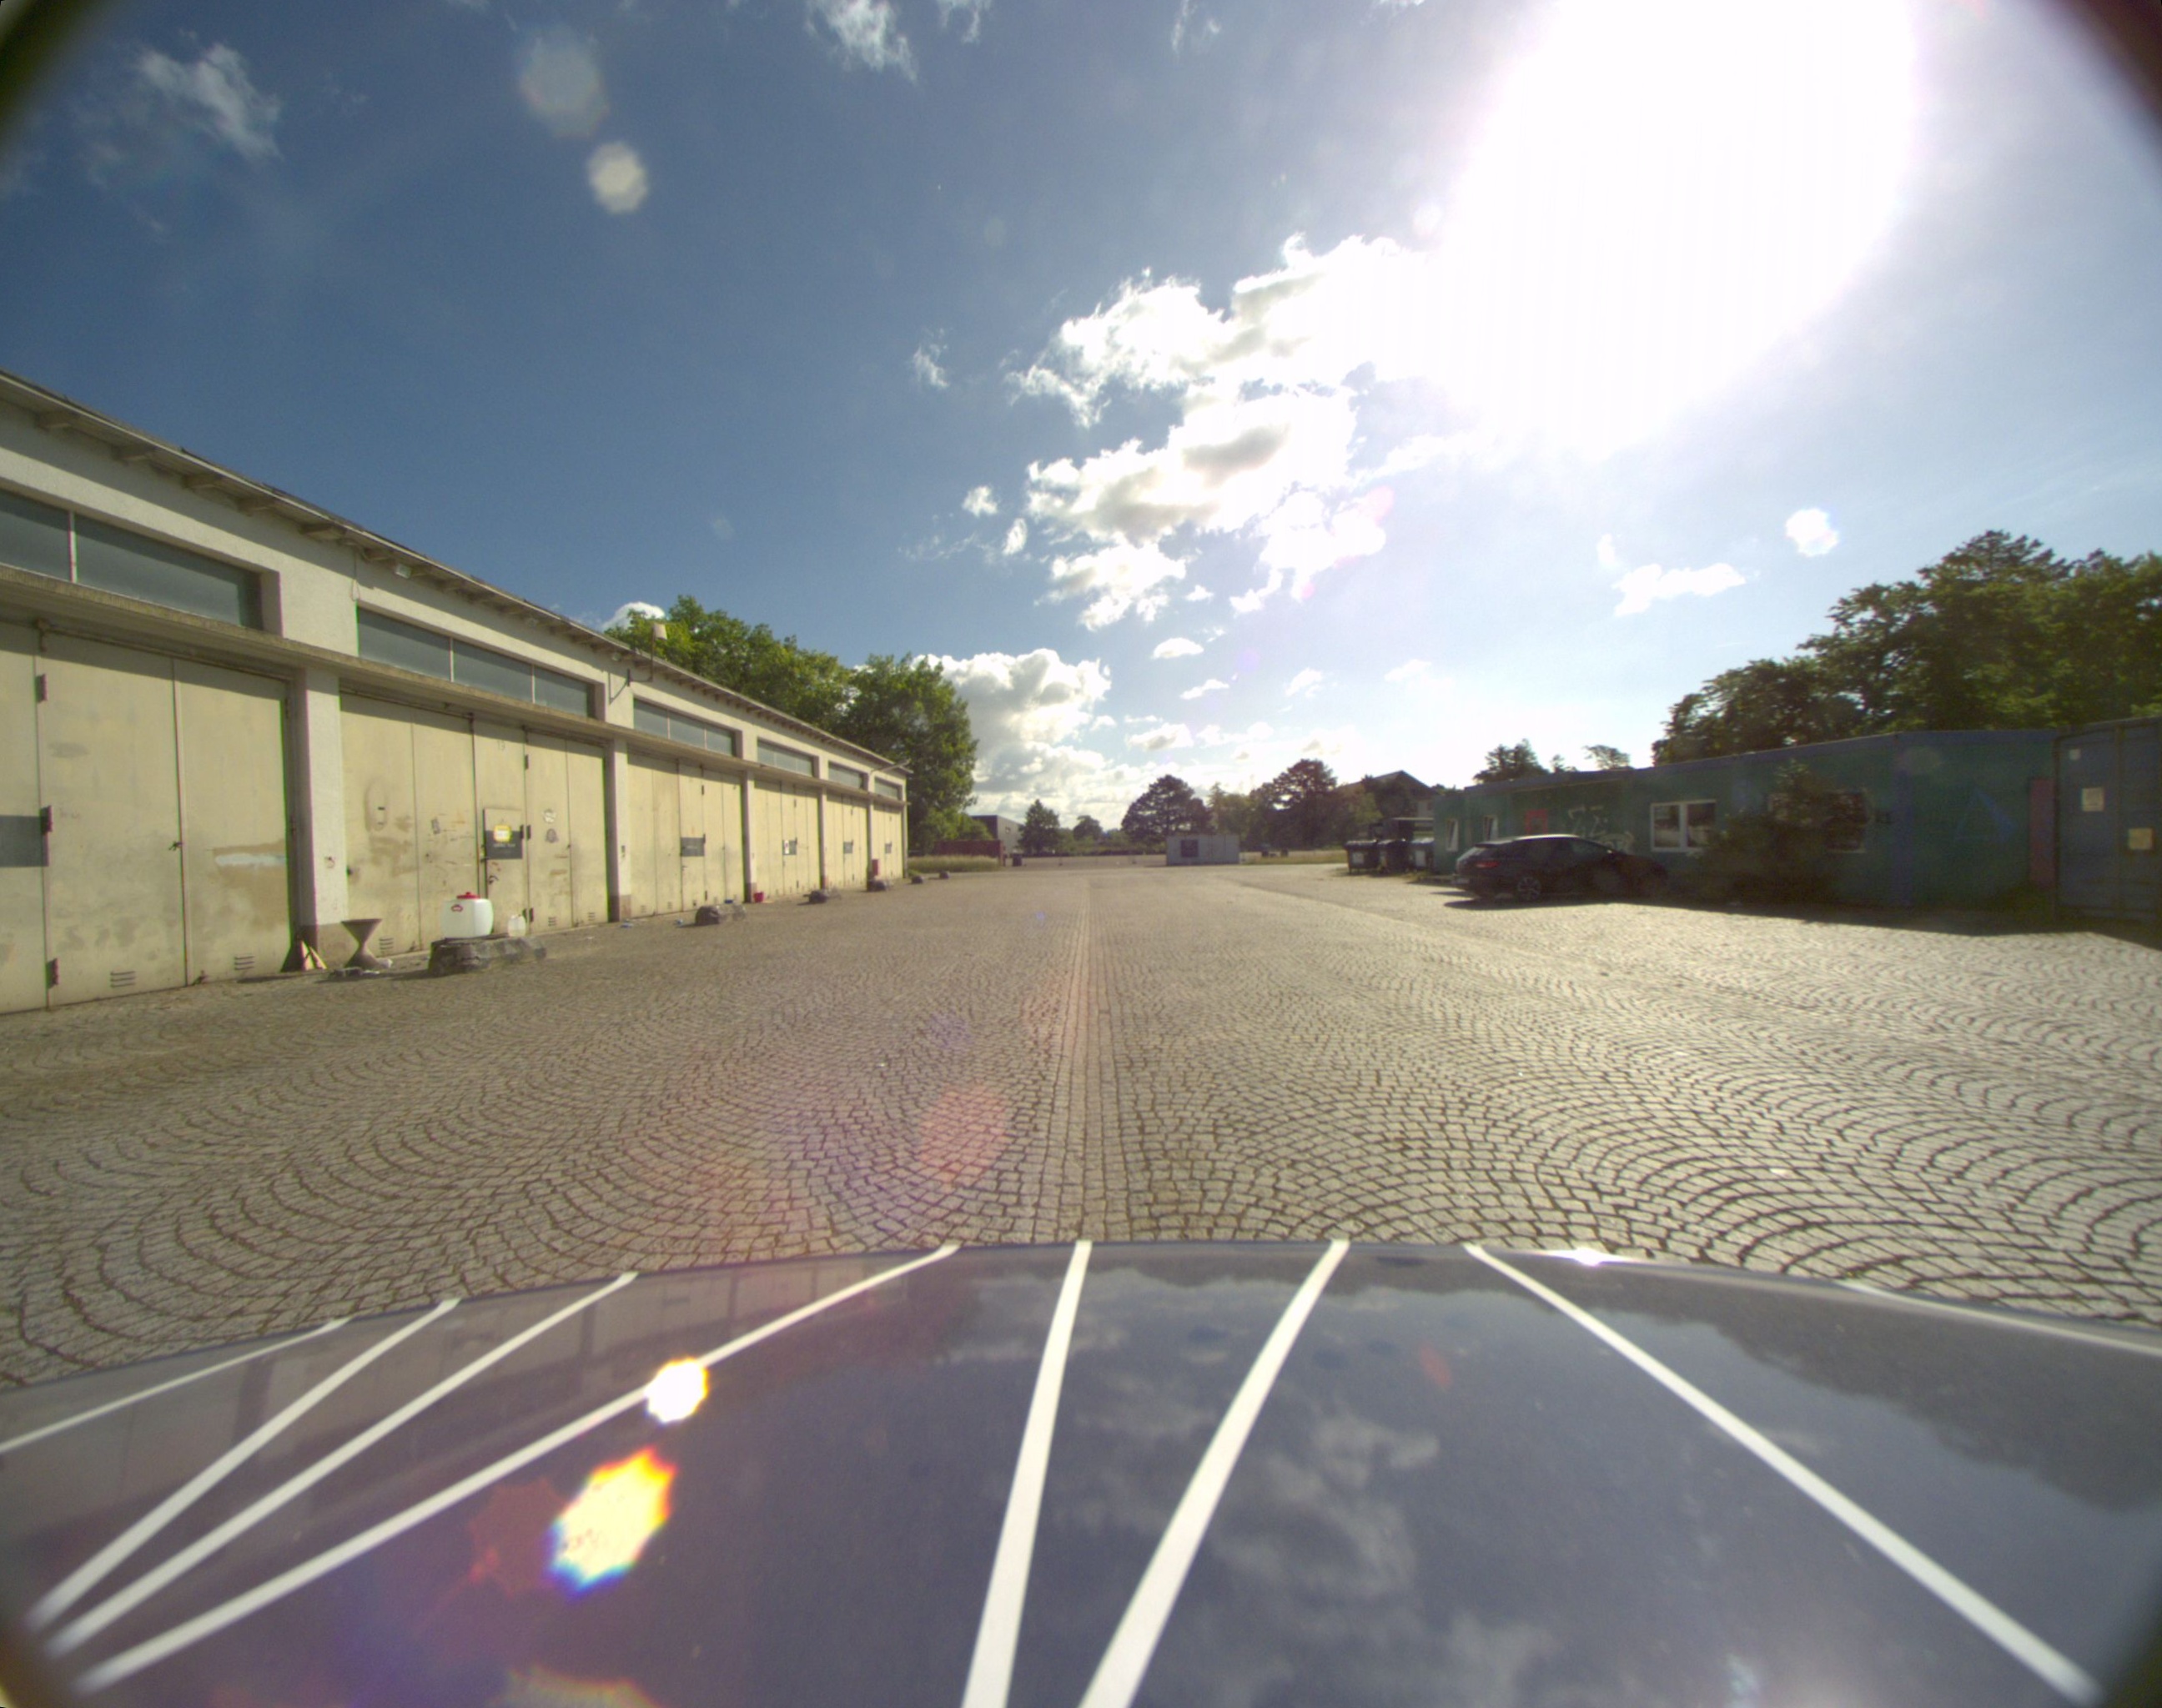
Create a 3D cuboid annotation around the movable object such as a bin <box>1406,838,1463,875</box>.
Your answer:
[{"bbox_3d":[13.895,0.072,29.904,1.386,1.378,1.534,-2,1,-11],"label":"movable object such as a bin"}]

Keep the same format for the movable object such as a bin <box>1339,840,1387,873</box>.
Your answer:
[{"bbox_3d":[12.505,0.098,33.712,1.389,1.378,1.531,-3,1,-43],"label":"movable object such as a bin"}]

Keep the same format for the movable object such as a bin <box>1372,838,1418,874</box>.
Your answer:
[{"bbox_3d":[13.027,0.086,31.562,1.299,1.414,1.536,-2,1,2],"label":"movable object such as a bin"}]

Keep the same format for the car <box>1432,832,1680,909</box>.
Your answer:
[{"bbox_3d":[10.713,0.340,17.373,4.426,1.456,1.999,-2,1,-2],"label":"car"}]

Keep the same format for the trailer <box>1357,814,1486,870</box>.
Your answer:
[{"bbox_3d":[15.480,-0.555,34.720,4.973,2.341,2.095,-2,1,-3],"label":"trailer"}]

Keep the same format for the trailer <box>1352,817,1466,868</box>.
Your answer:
[{"bbox_3d":[15.976,-0.562,37.199,4.666,2.285,2.137,-2,1,2],"label":"trailer"}]
